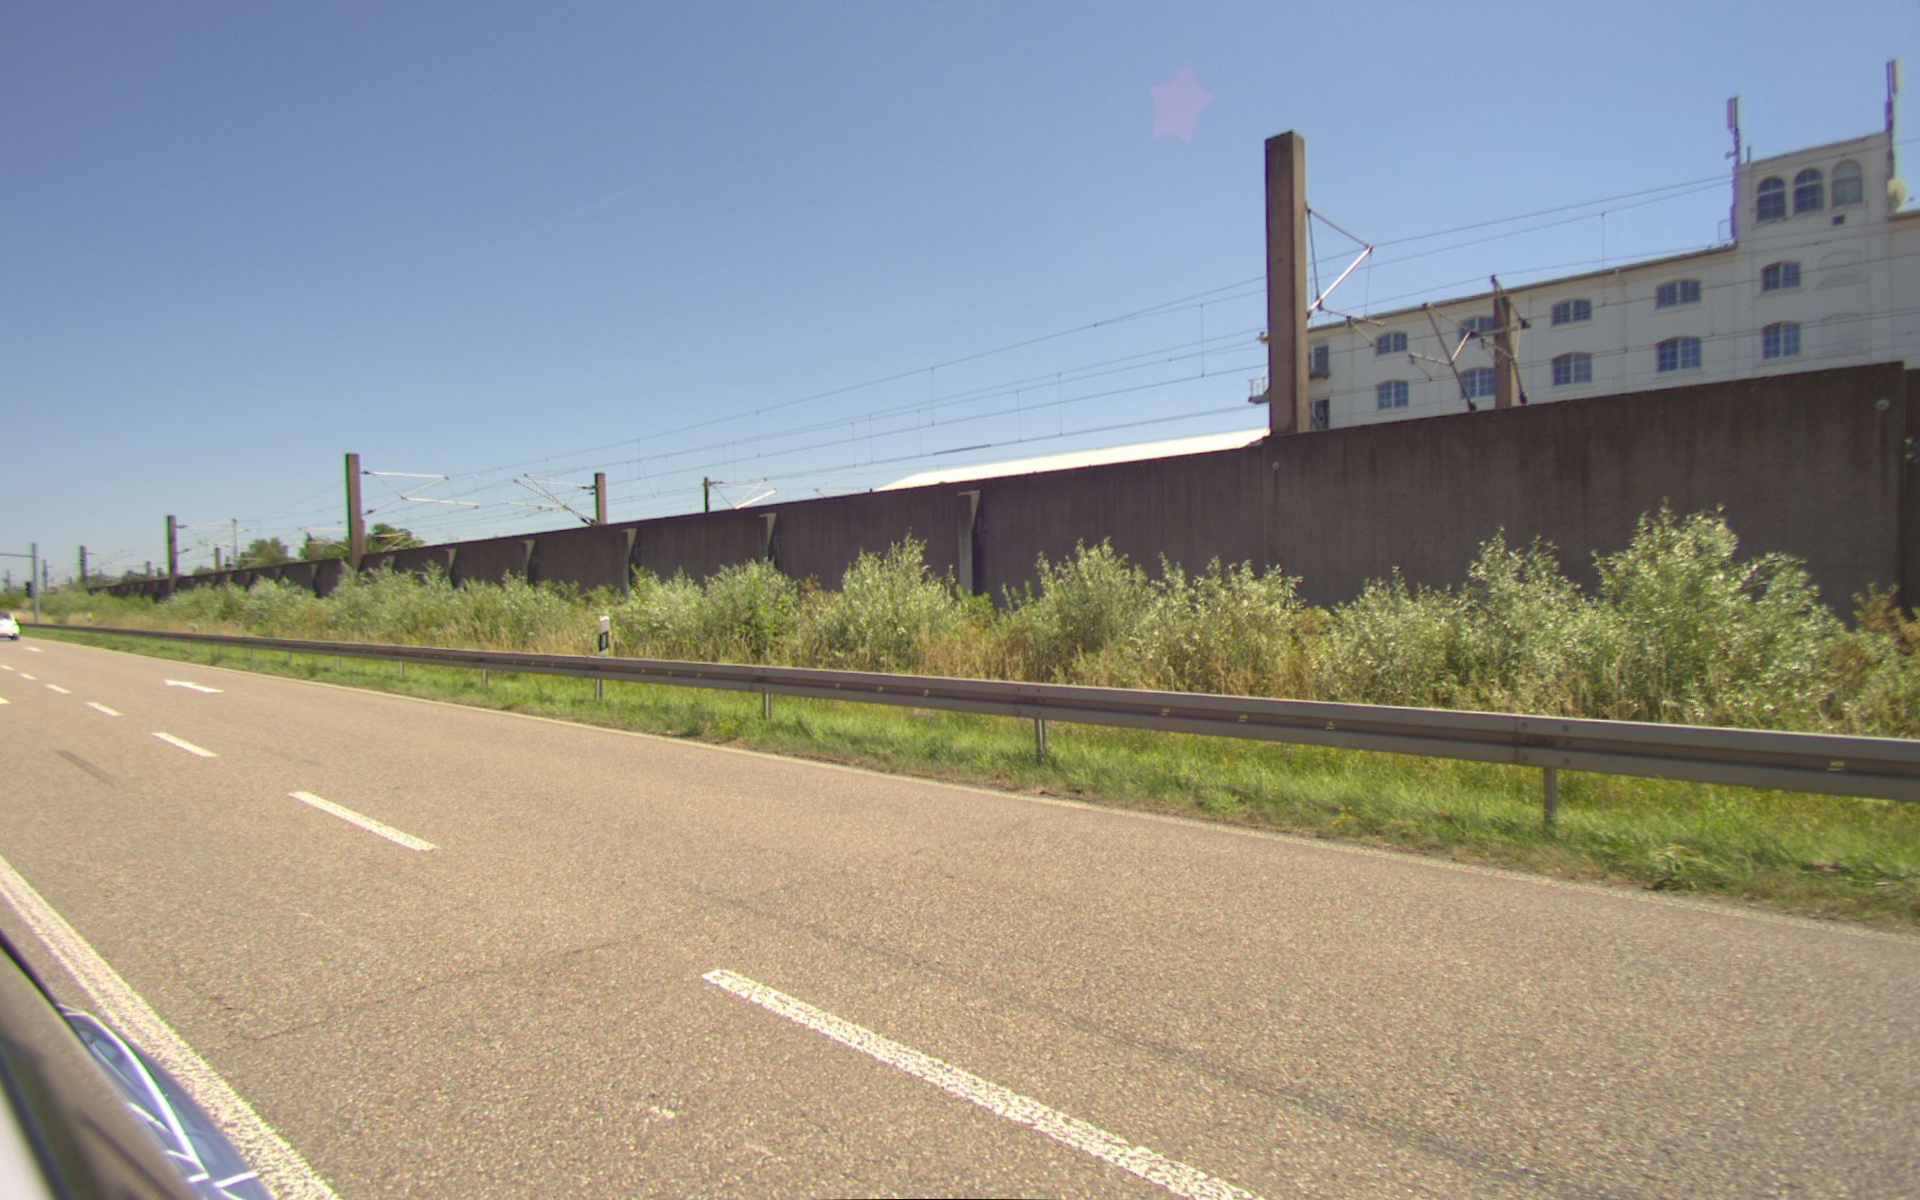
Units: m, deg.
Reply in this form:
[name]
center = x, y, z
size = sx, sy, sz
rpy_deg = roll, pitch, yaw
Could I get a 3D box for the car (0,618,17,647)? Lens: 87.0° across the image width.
[car]
center = -51.008, 1.703, 53.323
size = 3.772, 1.485, 1.579
rpy_deg = -1, -1, 41
